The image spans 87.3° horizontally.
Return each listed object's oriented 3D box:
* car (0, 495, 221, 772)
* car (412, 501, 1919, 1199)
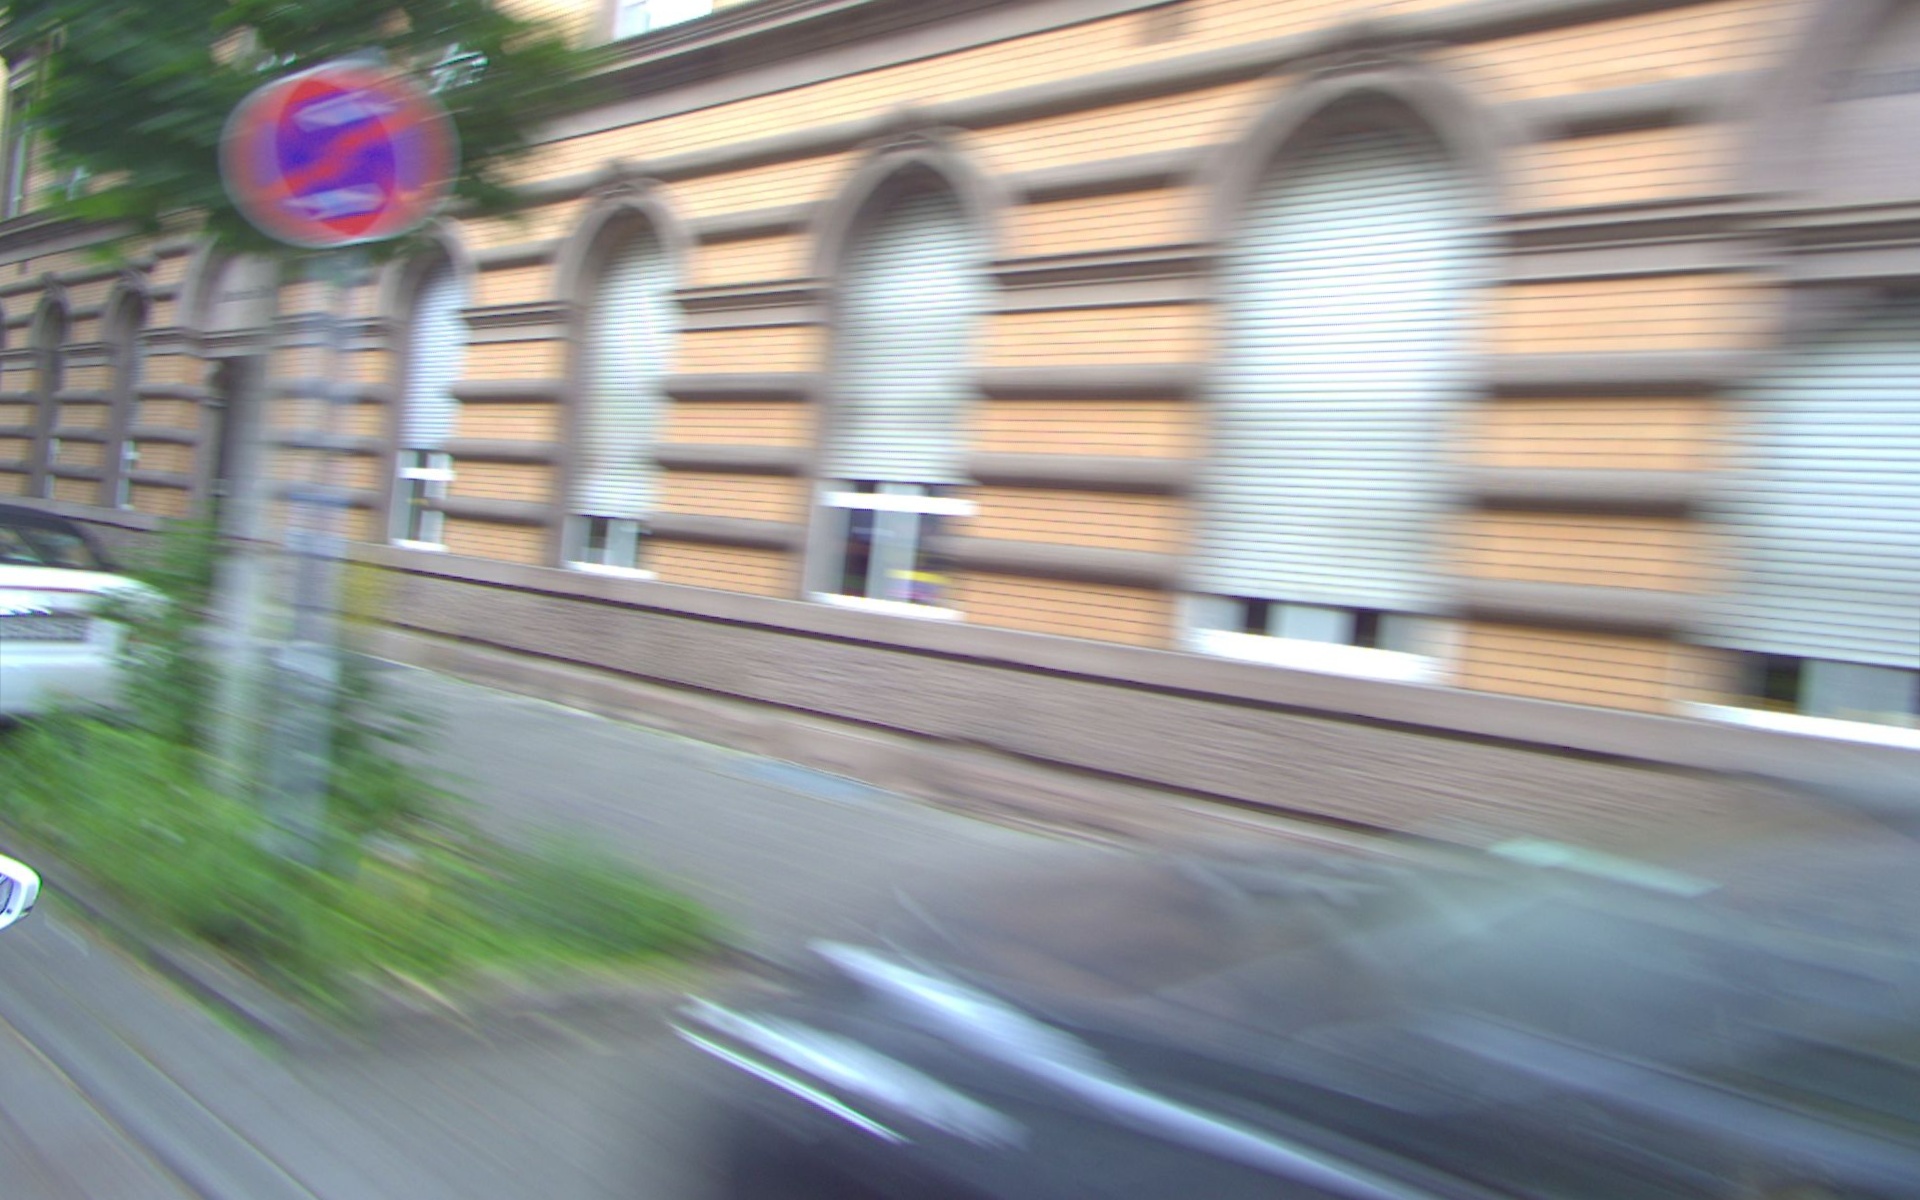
[{"bbox_3d":[-6.829,-0.037,6.446,4.568,1.419,1.696,7,0,31],"label":"car"},{"bbox_3d":[1.292,0.850,1.402,4.122,1.495,1.714,7,-1,31],"label":"car"}]
